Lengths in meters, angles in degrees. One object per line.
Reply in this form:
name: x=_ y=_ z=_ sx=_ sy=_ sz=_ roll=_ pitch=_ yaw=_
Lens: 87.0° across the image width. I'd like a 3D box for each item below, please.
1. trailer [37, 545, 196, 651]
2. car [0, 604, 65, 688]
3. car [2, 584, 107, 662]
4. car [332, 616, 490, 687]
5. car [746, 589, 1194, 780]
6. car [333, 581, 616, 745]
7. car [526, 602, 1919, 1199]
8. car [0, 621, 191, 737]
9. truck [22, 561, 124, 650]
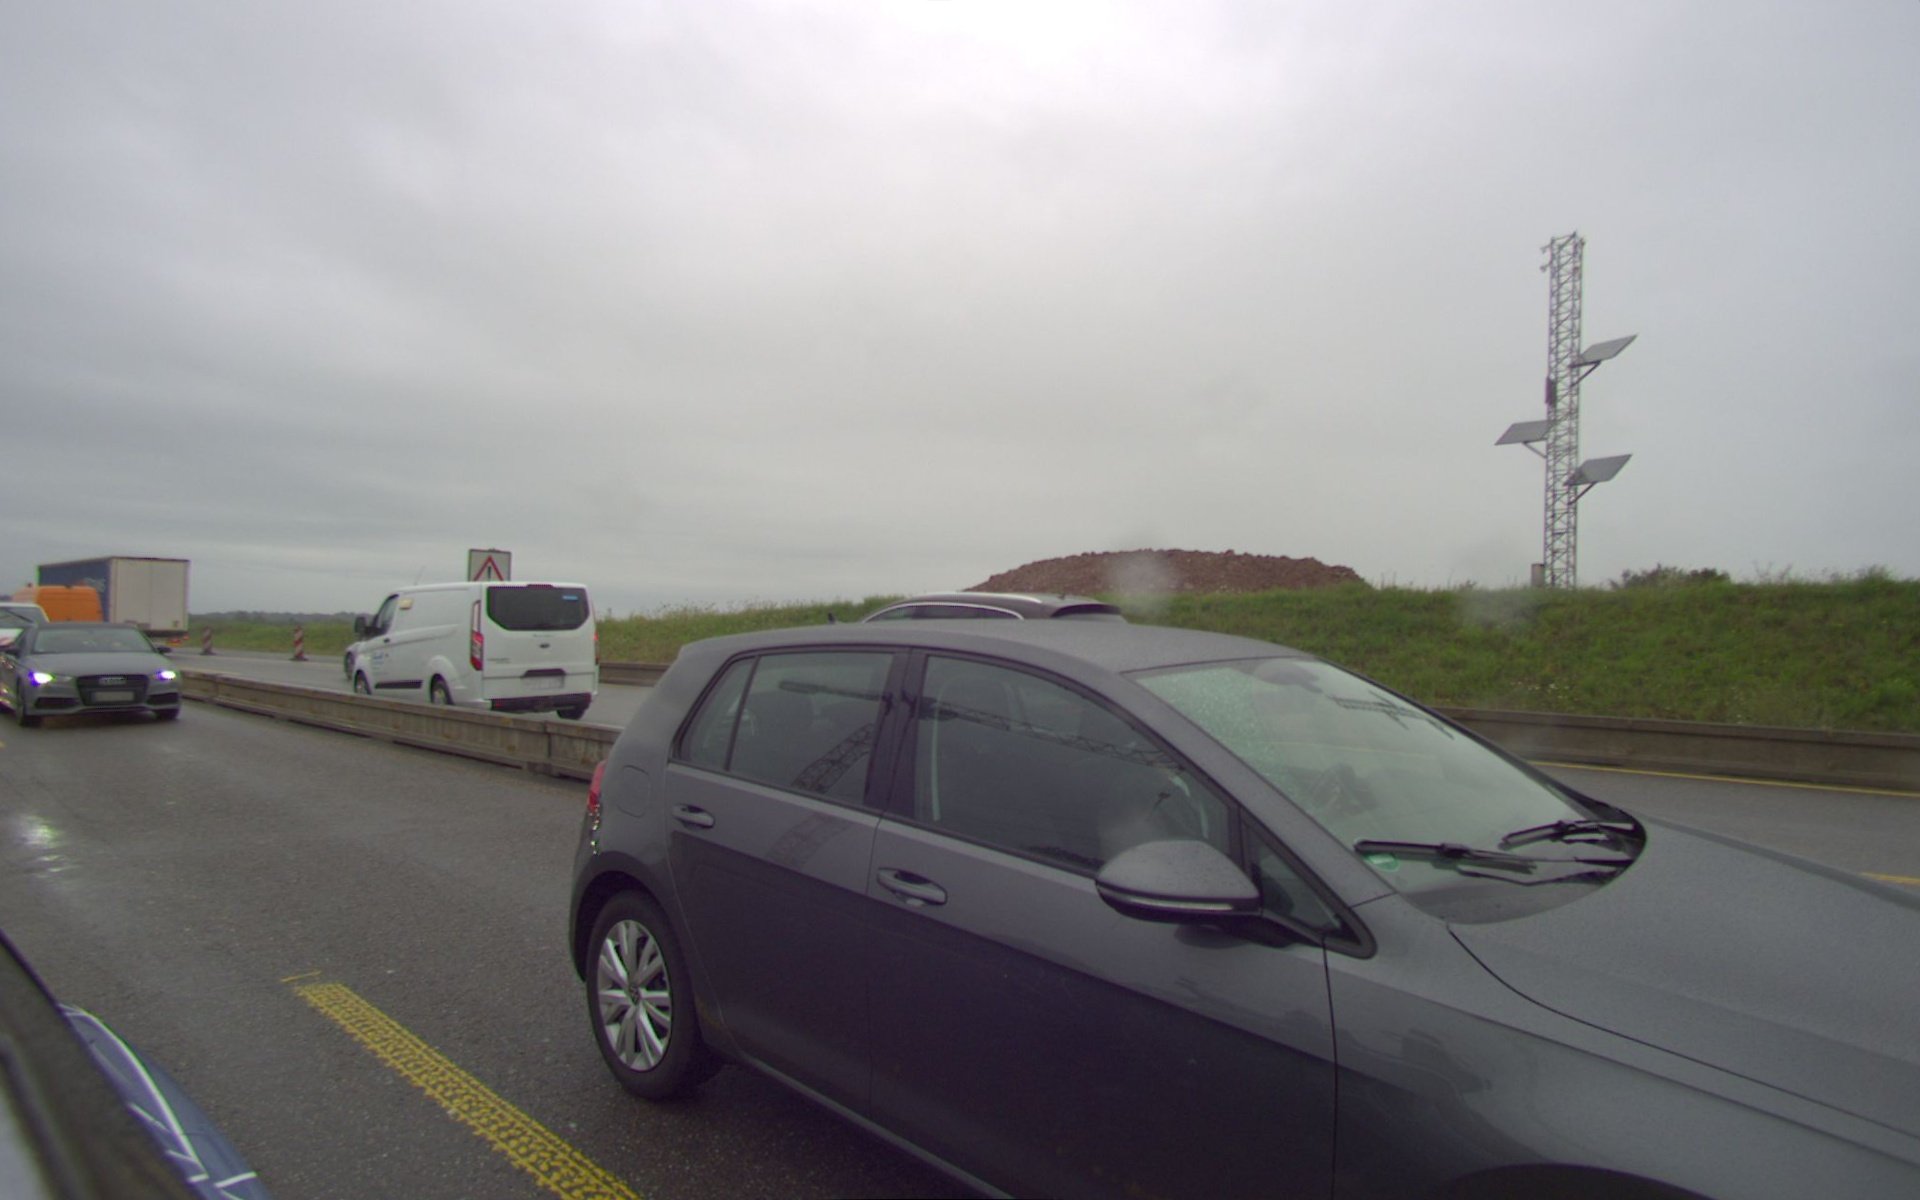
trailer: x=-37.392 y=0.109 z=44.544 sx=13.724 sy=4.065 sz=2.752 roll=-2 pitch=-1 yaw=39
car: x=-23.341 y=1.033 z=24.319 sx=5.177 sy=1.873 sz=2.133 roll=0 pitch=0 yaw=41
car: x=-32.927 y=0.840 z=36.698 sx=7.017 sy=2.597 sz=2.032 roll=-2 pitch=-1 yaw=41
car: x=-13.221 y=1.167 z=24.265 sx=4.535 sy=1.512 sz=1.972 roll=-1 pitch=-1 yaw=43
car: x=-0.088 y=0.813 z=11.406 sx=4.967 sy=1.699 sz=1.973 roll=-2 pitch=-1 yaw=41
car: x=-7.233 y=0.755 z=14.816 sx=4.967 sy=2.014 sz=1.973 roll=0 pitch=0 yaw=41
car: x=0.640 y=0.728 z=2.595 sx=4.079 sy=1.433 sz=1.632 roll=0 pitch=-1 yaw=41
car: x=-13.057 y=1.049 z=15.048 sx=4.267 sy=1.407 sz=1.776 roll=0 pitch=0 yaw=41
truck: x=-43.108 y=0.334 z=49.138 sx=5.813 sy=4.065 sz=2.761 roll=-2 pitch=-1 yaw=39
